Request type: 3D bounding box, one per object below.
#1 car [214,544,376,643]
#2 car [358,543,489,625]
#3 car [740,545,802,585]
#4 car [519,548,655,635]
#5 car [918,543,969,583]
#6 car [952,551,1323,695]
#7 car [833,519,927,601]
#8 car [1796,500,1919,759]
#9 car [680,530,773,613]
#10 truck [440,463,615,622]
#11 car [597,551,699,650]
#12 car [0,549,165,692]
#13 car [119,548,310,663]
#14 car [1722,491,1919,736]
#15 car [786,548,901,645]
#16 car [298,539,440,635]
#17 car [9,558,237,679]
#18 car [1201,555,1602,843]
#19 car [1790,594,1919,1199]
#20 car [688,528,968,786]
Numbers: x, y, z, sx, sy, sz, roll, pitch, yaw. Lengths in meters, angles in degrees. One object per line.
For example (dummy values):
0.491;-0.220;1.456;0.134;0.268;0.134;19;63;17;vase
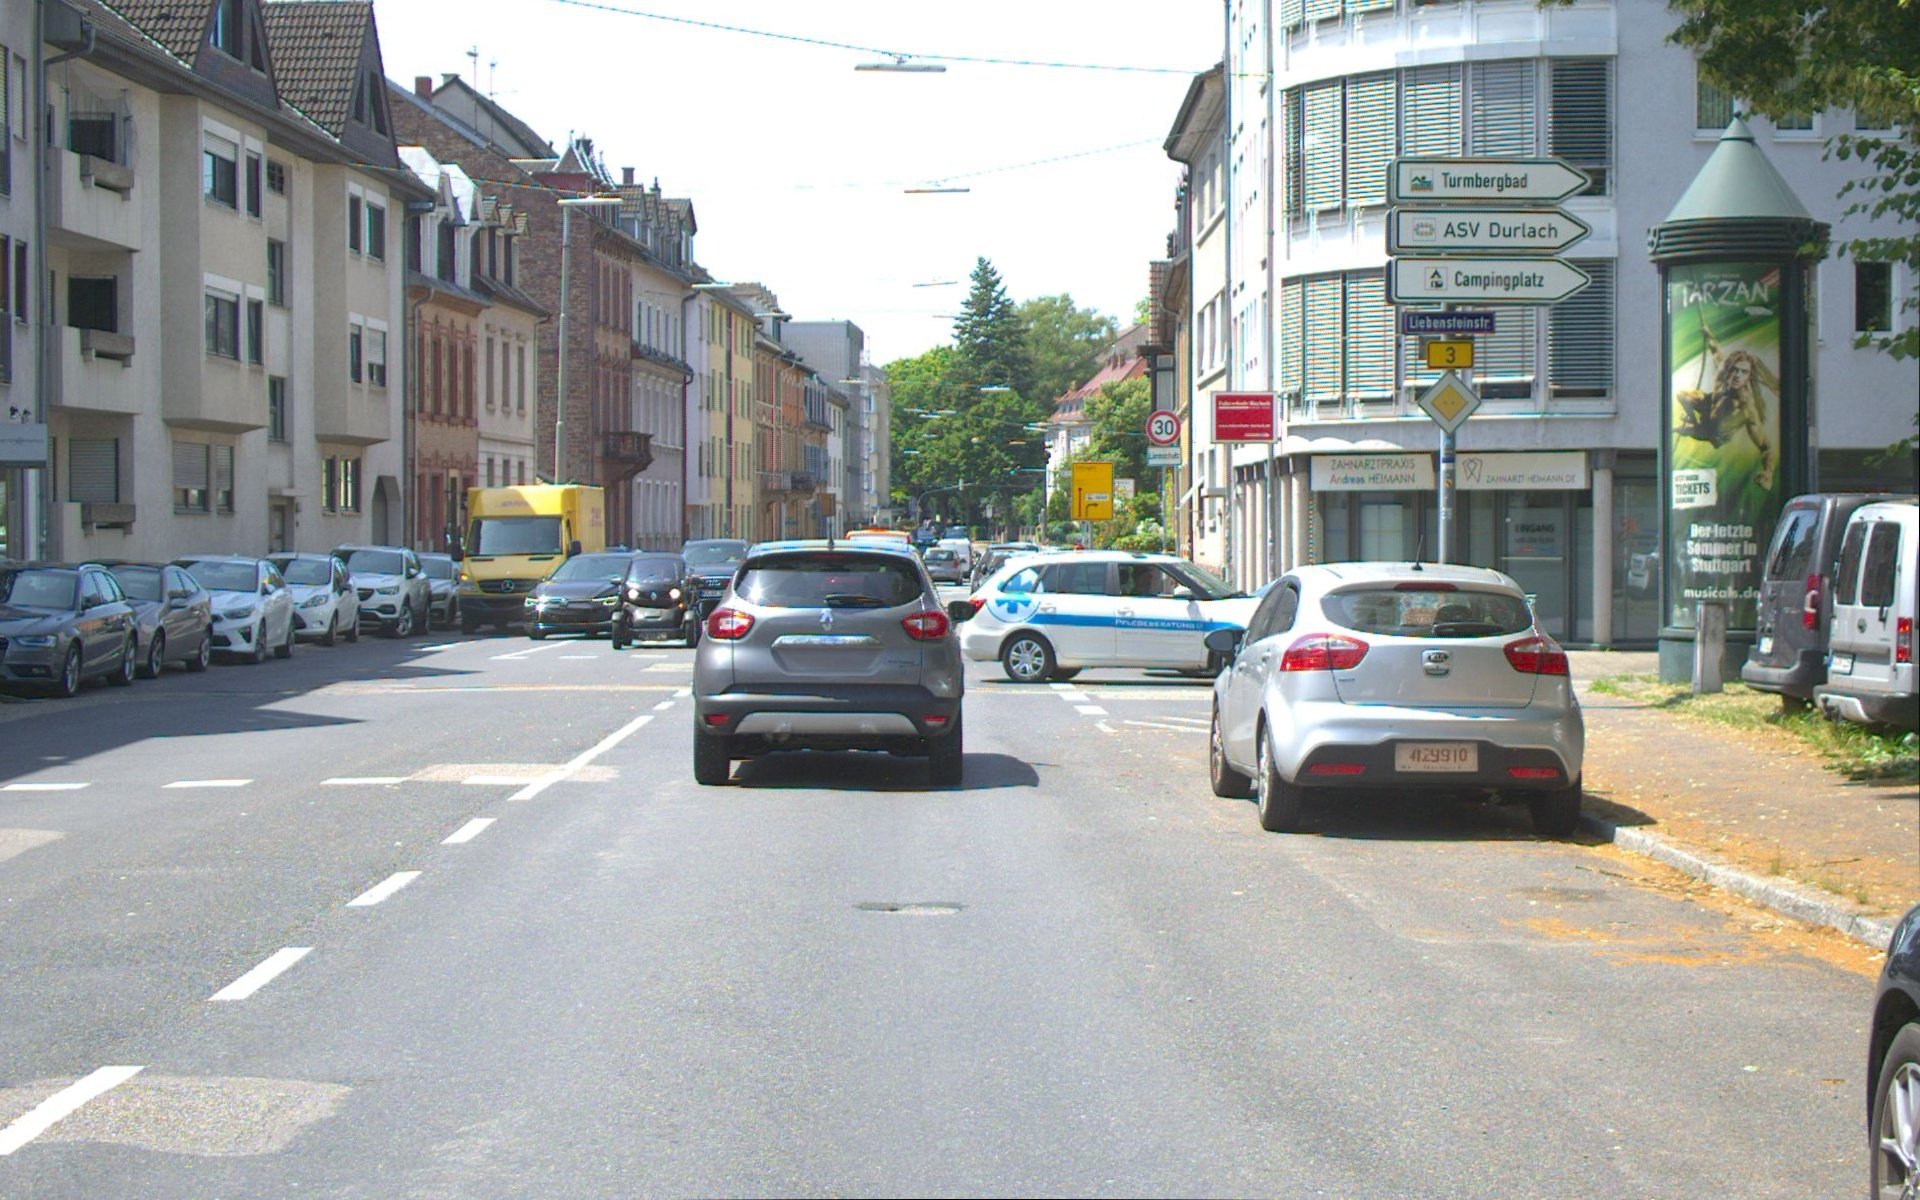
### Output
-10.874;-0.131;56.463;1.839;1.484;4.387;2;1;-1;car
-10.499;-0.321;67.580;1.840;1.483;4.386;2;1;0;car
-7.229;-1.324;131.616;1.840;1.418;4.557;-3;0;3;car
-6.275;-0.162;58.240;1.742;1.414;4.223;0;1;1;car
-0.636;-1.450;134.633;1.763;1.554;3.942;0;1;3;car
2.053;0.244;39.568;3.990;1.549;1.569;1;0;17;car
-1.979;-1.022;86.503;1.994;2.007;4.466;-1;1;3;car
7.717;0.169;23.050;3.762;1.661;1.664;0;1;-5;car
-4.838;-0.606;71.083;1.812;1.615;4.442;-1;1;-4;car
-8.060;-1.077;64.852;2.225;2.762;7.564;-1;1;1;truck
-4.726;-0.017;51.939;1.496;1.454;2.723;0;1;-6;car
-10.397;0.175;38.382;1.840;1.442;4.969;2;1;0;car
-10.521;0.054;48.811;1.839;1.484;4.387;2;1;-2;car
7.945;0.110;25.712;3.986;1.745;2.017;1;0;-2;car
-2.021;-0.091;60.791;1.812;1.615;4.441;-1;1;0;car
-10.614;-0.247;62.003;1.839;1.590;4.387;2;1;-1;car
-10.520;0.194;43.518;1.839;1.379;4.327;2;1;-1;car
2.447;0.499;19.944;1.767;1.480;3.891;1;1;-1;car
2.620;0.738;5.293;1.663;1.423;4.000;0;1;-1;car
-0.953;0.329;23.490;1.743;1.611;4.001;0;1;-4;car
